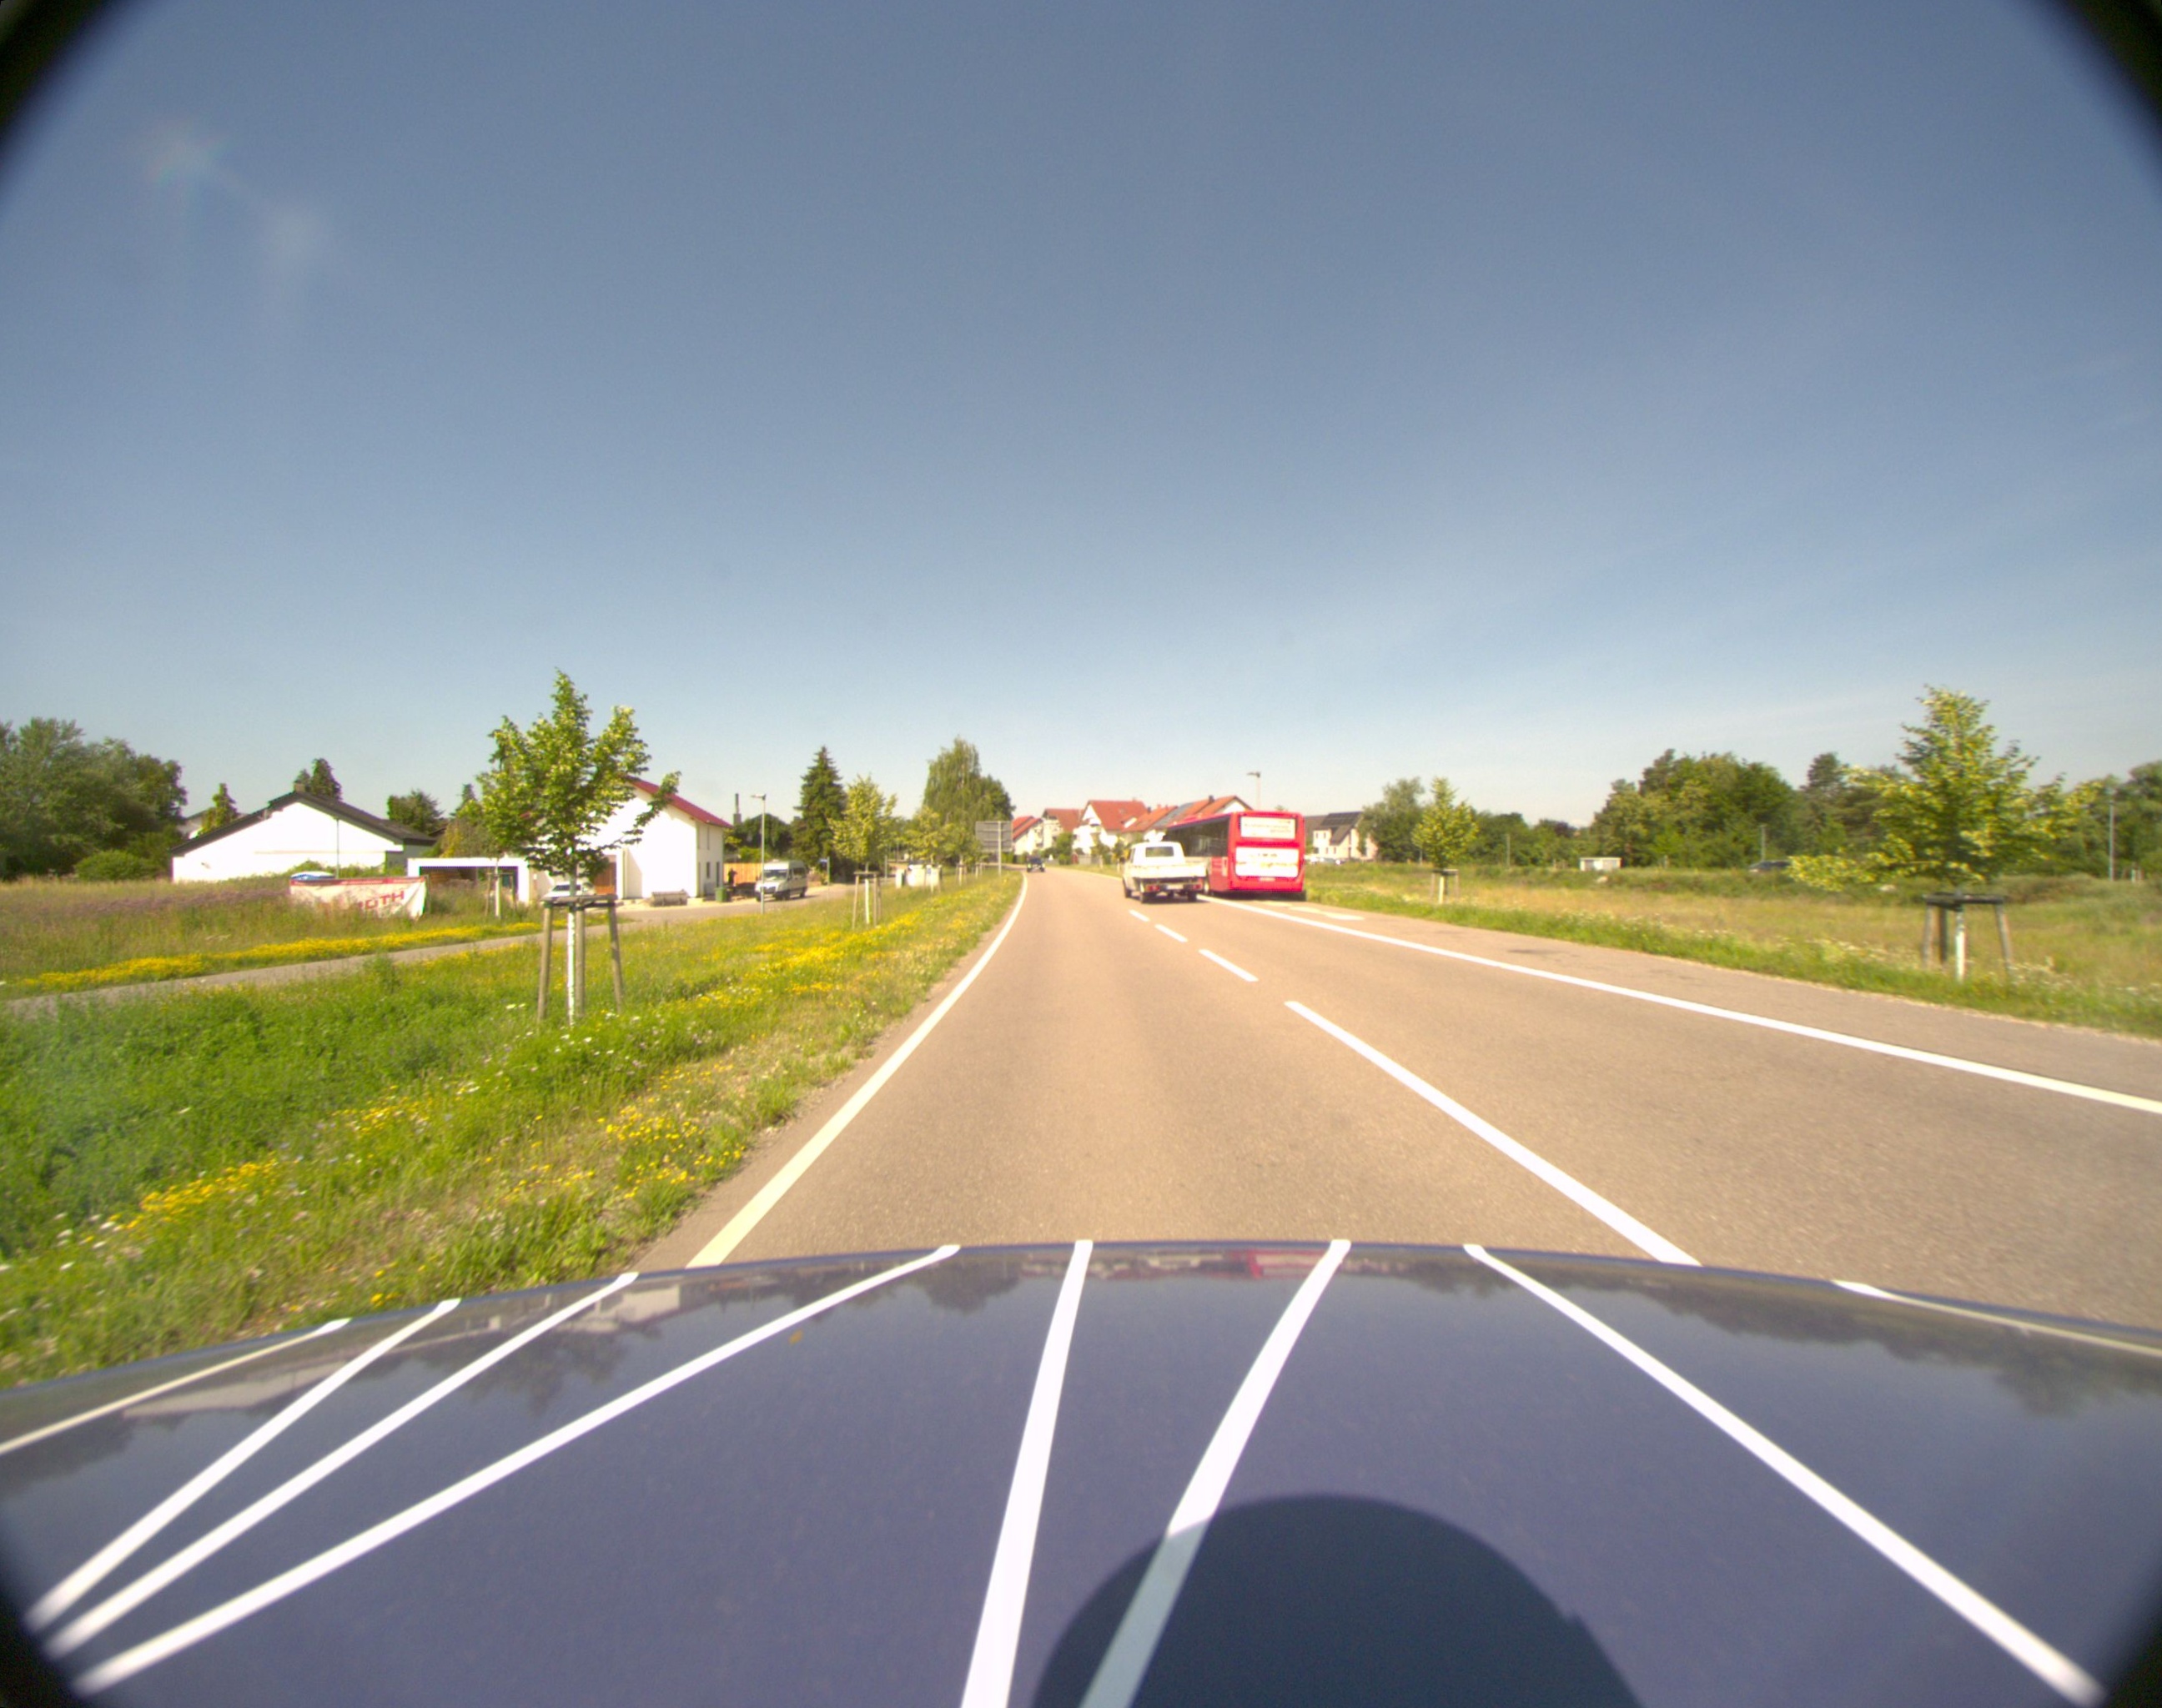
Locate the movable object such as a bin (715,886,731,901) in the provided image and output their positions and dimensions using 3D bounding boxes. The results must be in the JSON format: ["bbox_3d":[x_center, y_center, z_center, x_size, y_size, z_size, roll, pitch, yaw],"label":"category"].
[{"bbox_3d":[-22.511,2.489,47.767,0.694,0.932,0.638,-1,0,1],"label":"movable object such as a bin"}]

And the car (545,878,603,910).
[{"bbox_3d":[-29.078,2.228,43.680,1.565,1.549,4.480,-3,1,-18],"label":"car"}]

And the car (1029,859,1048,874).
[{"bbox_3d":[-4.796,1.359,85.153,1.934,1.552,3.997,1,0,-7],"label":"car"}]

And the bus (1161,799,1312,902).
[{"bbox_3d":[5.671,-0.068,30.650,2.802,3.267,12.225,2,0,-4],"label":"bus"}]

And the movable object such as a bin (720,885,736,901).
[{"bbox_3d":[-22.506,2.481,48.459,0.694,0.932,0.638,-1,0,1],"label":"movable object such as a bin"}]

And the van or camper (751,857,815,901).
[{"bbox_3d":[-19.891,1.591,51.001,2.178,2.586,6.027,-1,1,-3],"label":"van or camper"}]

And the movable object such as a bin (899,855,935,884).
[{"bbox_3d":[-15.600,1.409,72.762,2.323,2.449,6.942,-1,1,-4],"label":"movable object such as a bin"}]

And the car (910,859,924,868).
[{"bbox_3d":[-28.202,1.571,130.580,1.864,1.437,4.165,-2,1,-7],"label":"car"}]

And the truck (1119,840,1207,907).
[{"bbox_3d":[2.628,0.614,25.927,1.957,1.973,5.642,-2,0,-4],"label":"truck"}]
